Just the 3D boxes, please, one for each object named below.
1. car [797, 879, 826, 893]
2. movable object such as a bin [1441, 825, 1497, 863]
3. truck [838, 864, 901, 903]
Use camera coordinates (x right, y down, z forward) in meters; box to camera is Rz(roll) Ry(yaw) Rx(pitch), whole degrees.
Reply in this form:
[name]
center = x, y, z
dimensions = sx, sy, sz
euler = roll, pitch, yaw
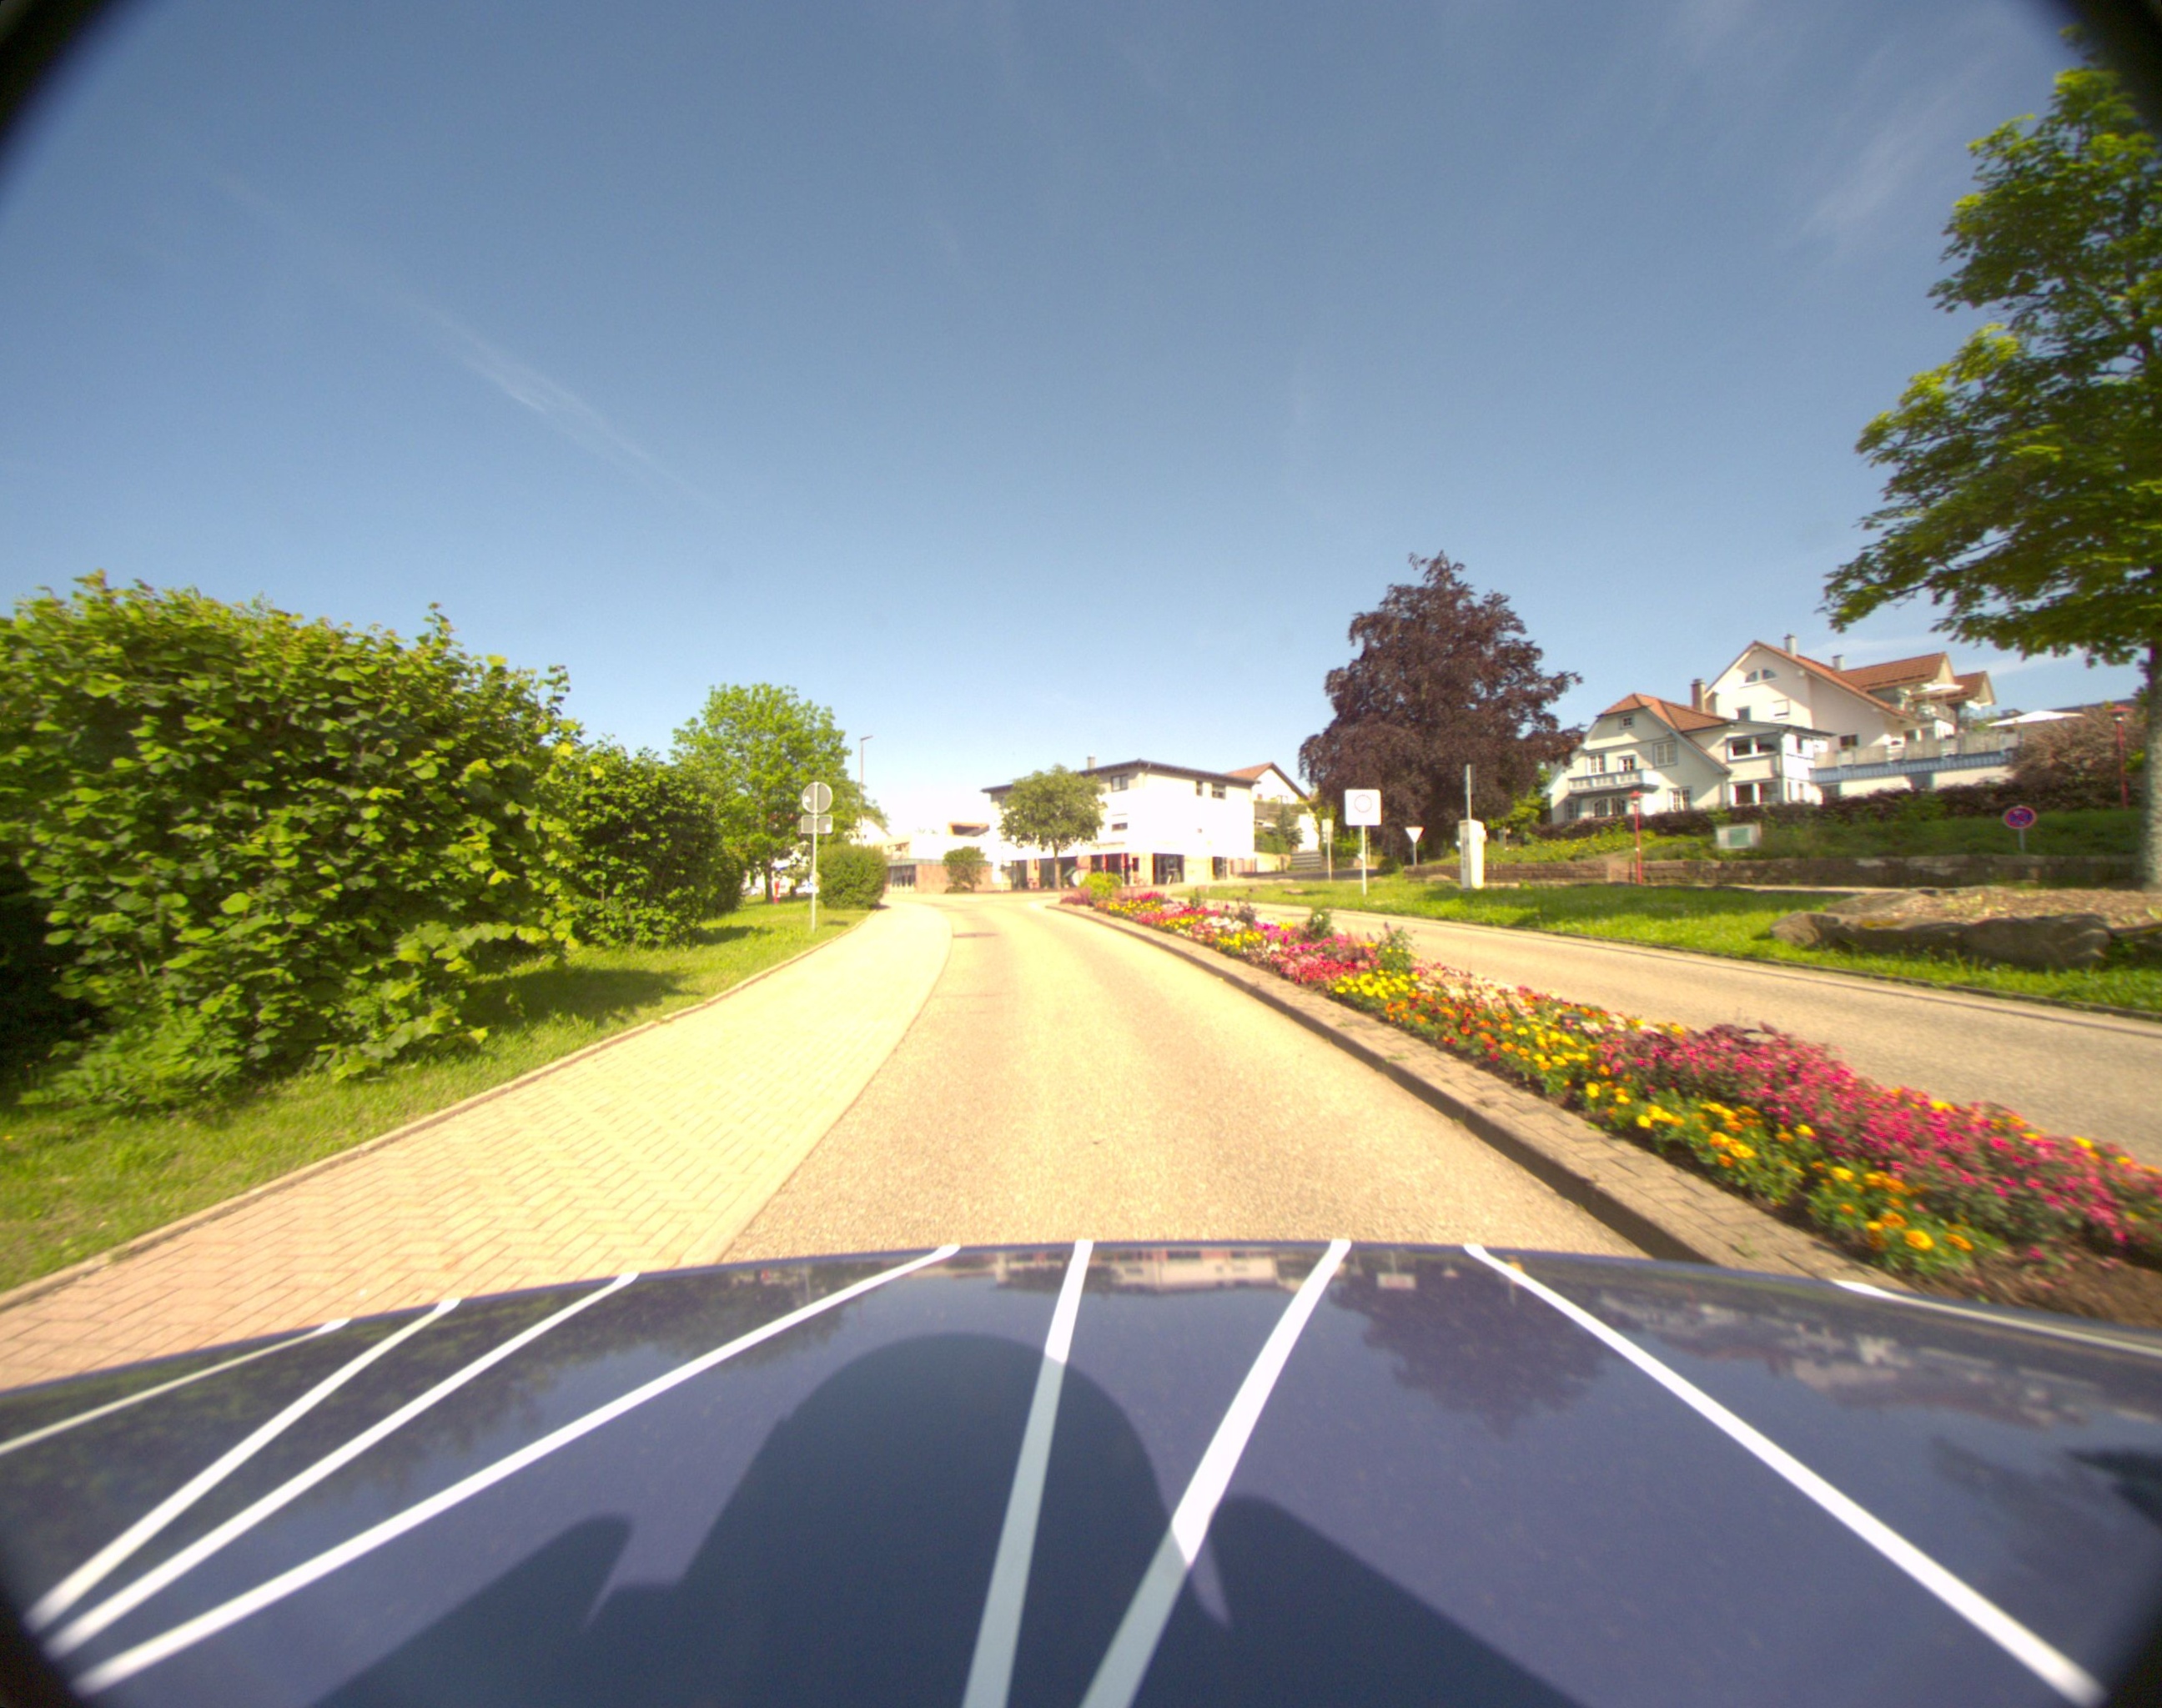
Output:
[car]
center = -31.788, 3.818, 89.538
dimensions = 1.779, 1.459, 3.704
euler = -3, 0, -44
[movable object such as a bin]
center = 29.937, -0.811, 58.613
dimensions = 5.114, 2.753, 1.995
euler = -2, 0, -41
[truck]
center = -14.920, 2.099, 53.219
dimensions = 2.003, 2.327, 6.481
euler = -4, -2, -36
